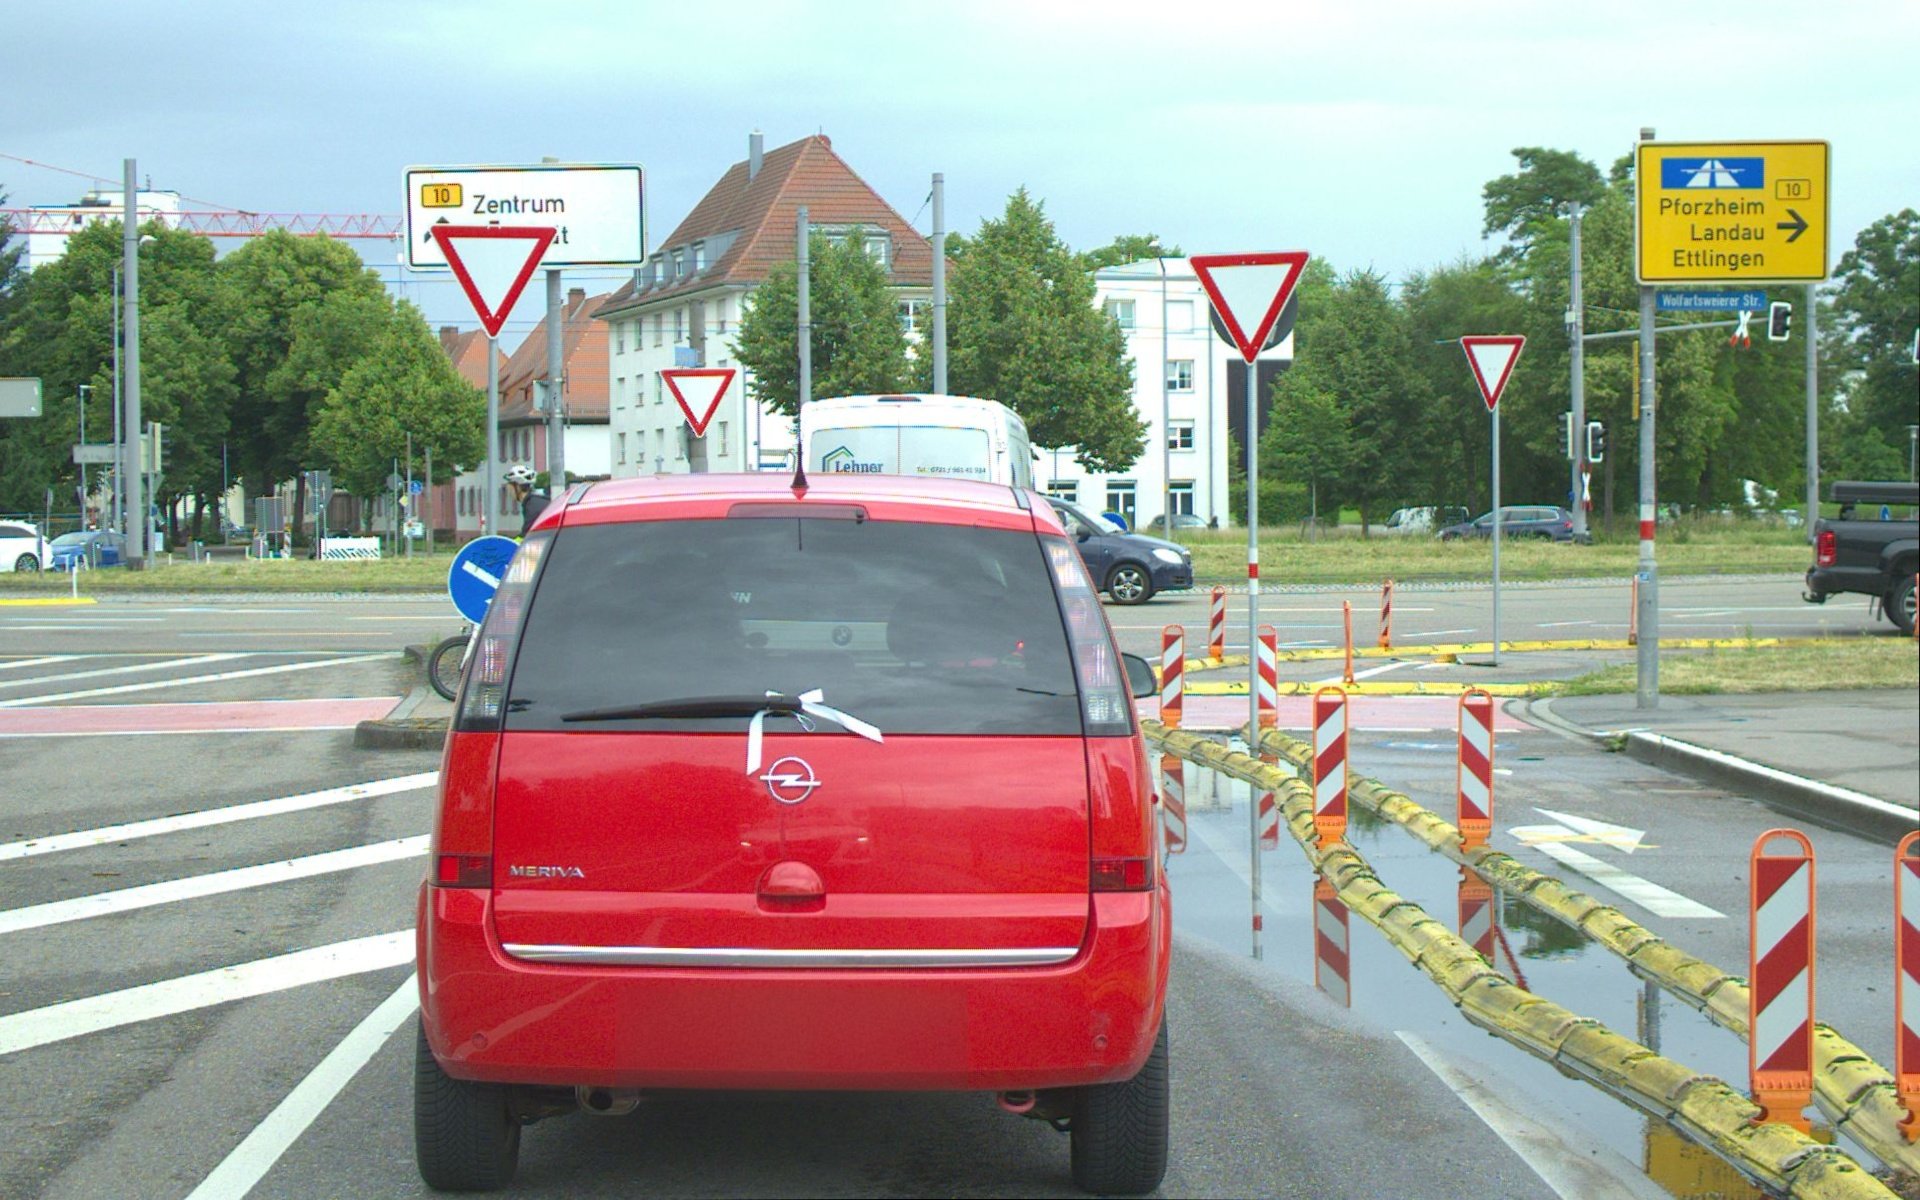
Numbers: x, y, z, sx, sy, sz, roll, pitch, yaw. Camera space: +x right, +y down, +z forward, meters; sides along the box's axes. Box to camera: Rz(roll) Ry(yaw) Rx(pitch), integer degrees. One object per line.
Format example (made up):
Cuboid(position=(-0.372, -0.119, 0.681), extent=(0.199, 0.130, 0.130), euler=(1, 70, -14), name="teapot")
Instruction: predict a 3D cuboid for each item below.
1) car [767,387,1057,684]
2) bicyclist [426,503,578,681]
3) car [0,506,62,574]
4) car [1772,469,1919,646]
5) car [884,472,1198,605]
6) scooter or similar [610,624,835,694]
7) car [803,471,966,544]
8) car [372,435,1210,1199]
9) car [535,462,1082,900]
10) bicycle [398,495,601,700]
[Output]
Cuboid(position=(-0.351, -0.623, 32.115), extent=(2.195, 2.531, 4.962), euler=(1, 2, 5), name="car")
Cuboid(position=(-3.647, -0.071, 27.421), extent=(1.062, 1.396, 0.615), euler=(-1, 1, 7), name="bicyclist")
Cuboid(position=(-24.403, -1.447, 83.668), extent=(1.998, 1.629, 4.665), euler=(0, 2, 37), name="car")
Cuboid(position=(11.819, -0.508, 39.052), extent=(5.028, 1.965, 2.222), euler=(0, 2, 14), name="car")
Cuboid(position=(1.183, -0.884, 48.919), extent=(4.196, 1.807, 2.077), euler=(0, 2, 10), name="car")
Cuboid(position=(-1.867, 0.459, 27.161), extent=(1.608, 0.502, 0.924), euler=(0, 2, 8), name="scooter or similar")
Cuboid(position=(-2.182, -2.647, 98.557), extent=(4.464, 2.007, 2.001), euler=(-1, 1, -6), name="car")
Cuboid(position=(-0.371, 0.444, 8.749), extent=(1.673, 1.635, 3.628), euler=(1, 2, -1), name="car")
Cuboid(position=(-0.611, 0.245, 15.359), extent=(2.059, 1.642, 4.608), euler=(1, 2, -1), name="car")
Cuboid(position=(-3.665, -0.024, 27.419), extent=(1.477, 1.606, 0.606), euler=(-1, 1, 7), name="bicycle")
